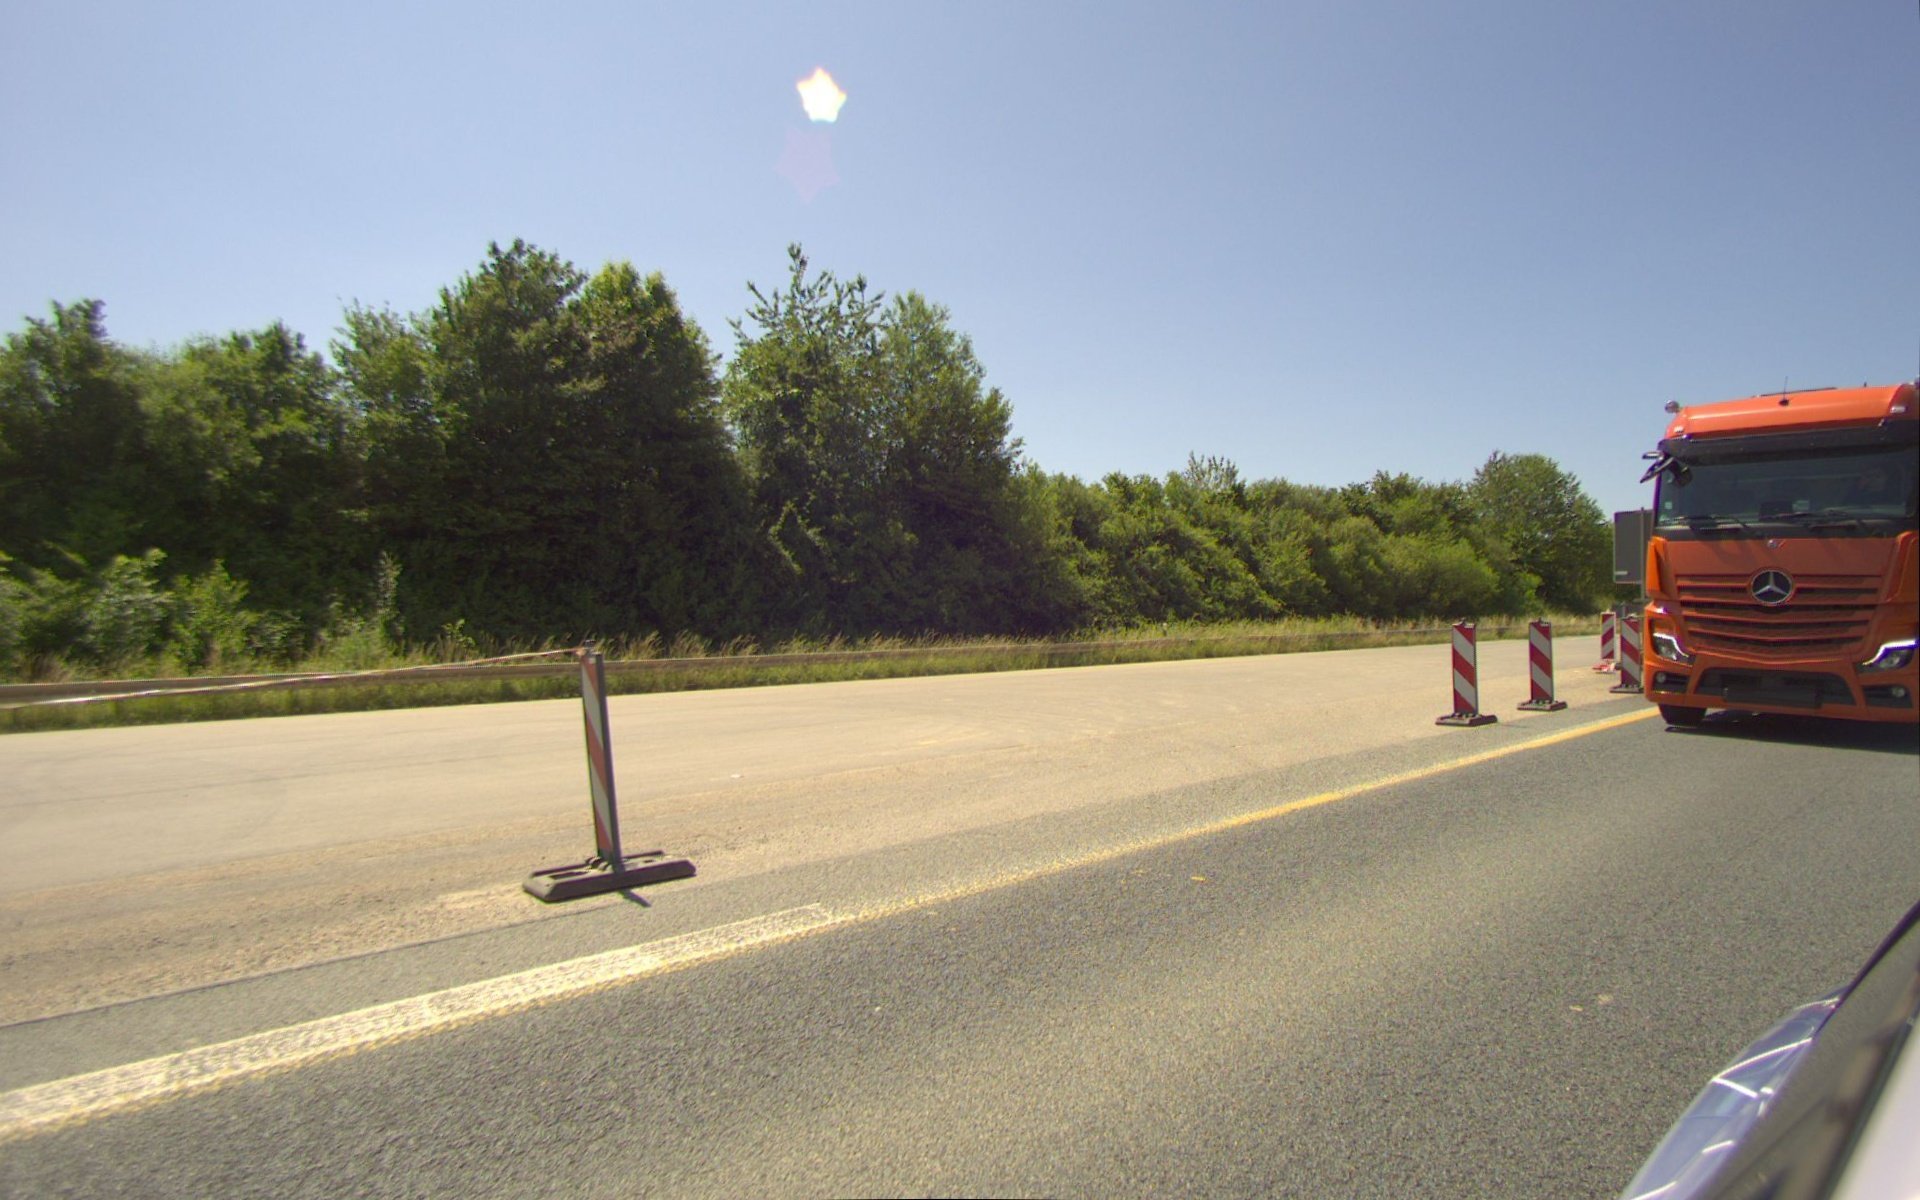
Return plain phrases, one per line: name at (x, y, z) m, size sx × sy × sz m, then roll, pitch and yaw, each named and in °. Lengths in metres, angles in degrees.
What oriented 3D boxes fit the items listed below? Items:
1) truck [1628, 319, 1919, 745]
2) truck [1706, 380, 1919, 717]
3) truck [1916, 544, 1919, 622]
truck at (10.927, -0.686, 12.638) m, size 6.609 × 4.060 × 2.686 m, roll -1°, pitch 0°, yaw -41°
truck at (15.898, -0.697, 17.097) m, size 12.991 × 4.060 × 2.686 m, roll -1°, pitch 0°, yaw -42°
truck at (55.902, -0.927, 56.649) m, size 12.886 × 4.105 × 2.478 m, roll 0°, pitch 0°, yaw -42°
